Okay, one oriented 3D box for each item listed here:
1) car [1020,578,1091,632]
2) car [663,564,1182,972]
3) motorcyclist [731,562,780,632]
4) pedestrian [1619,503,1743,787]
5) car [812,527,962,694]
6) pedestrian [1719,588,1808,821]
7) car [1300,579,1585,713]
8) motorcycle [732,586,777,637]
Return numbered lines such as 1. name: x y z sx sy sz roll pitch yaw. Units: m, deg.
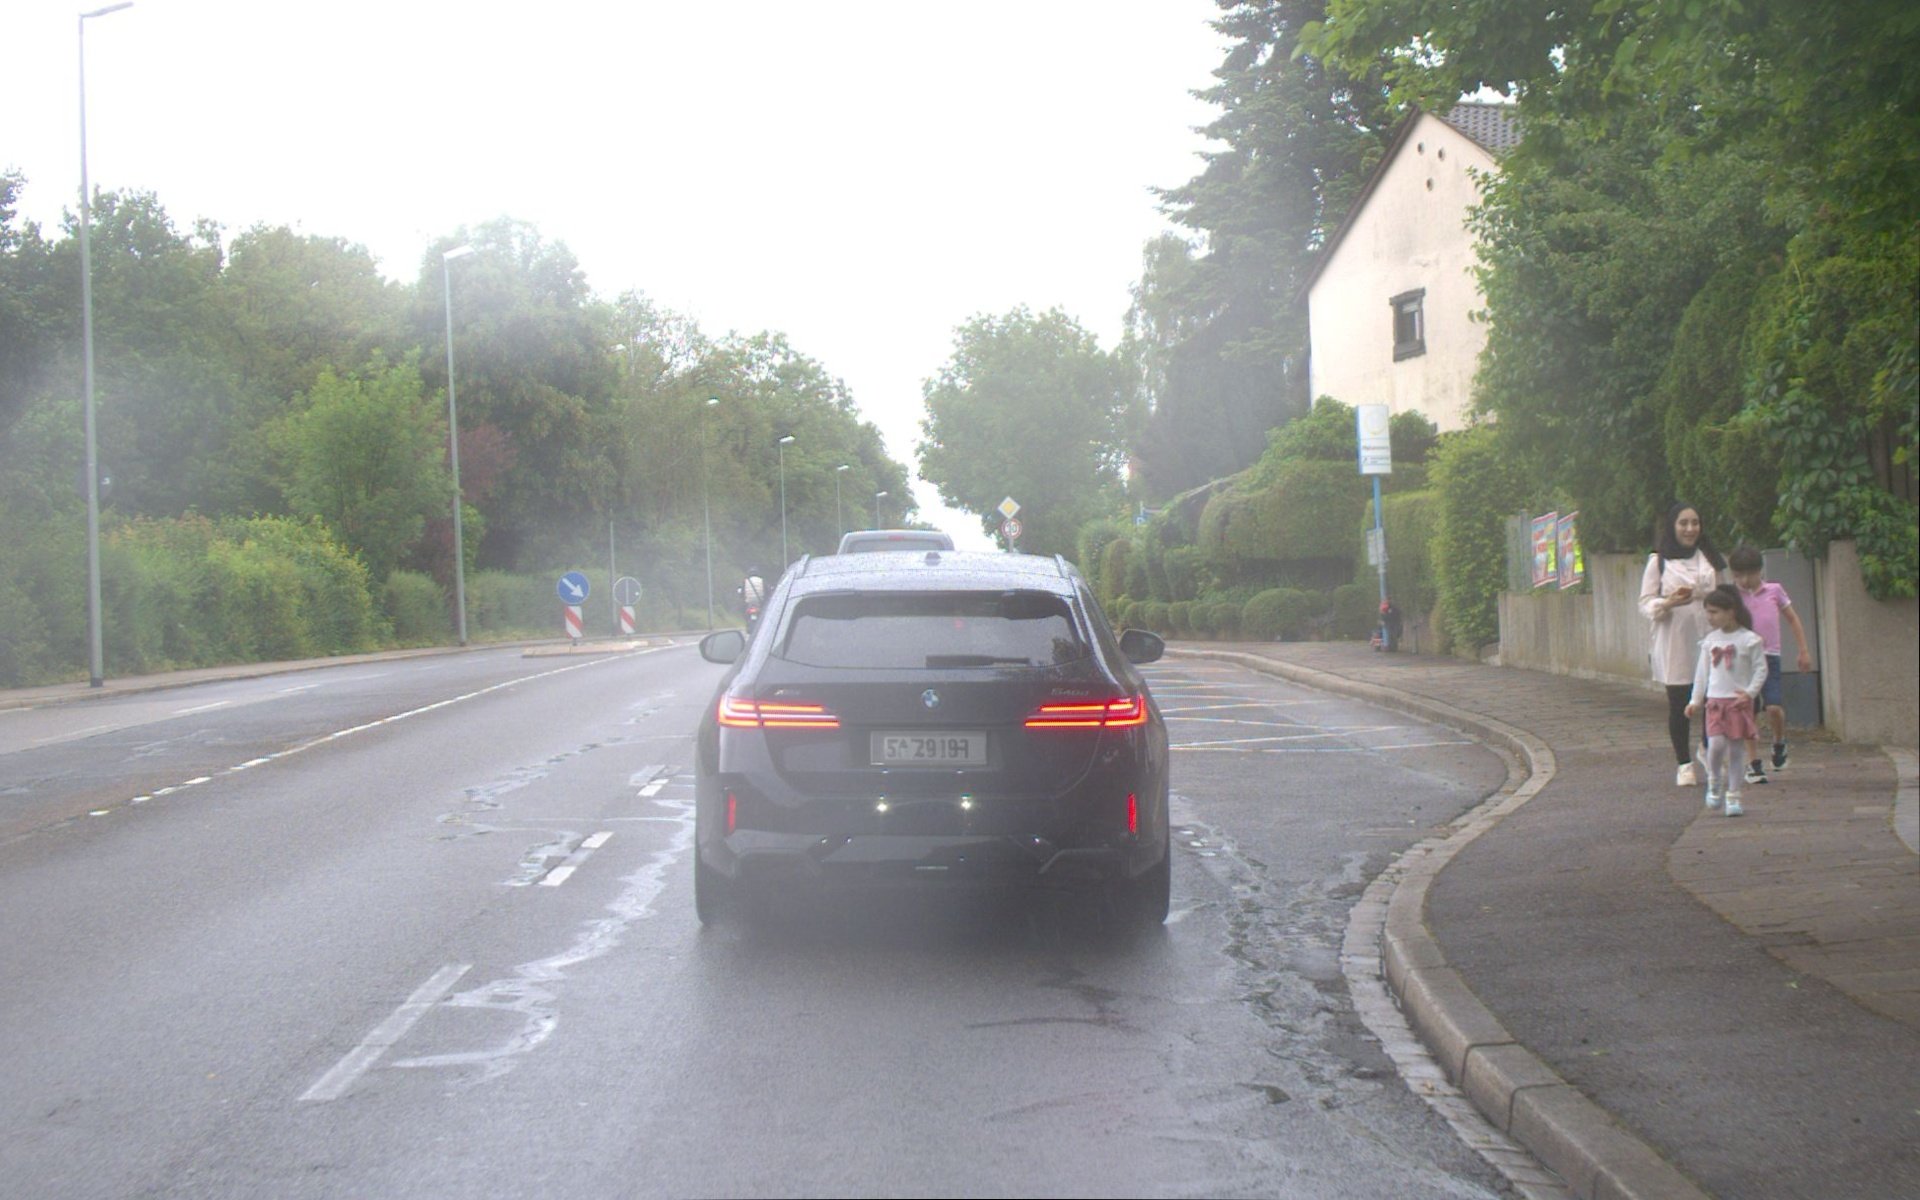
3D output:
1. car: 2.733 0.116 98.444 1.935 1.437 4.408 -2 0 2
2. car: -0.126 0.605 14.633 1.897 1.484 4.000 0 0 0
3. motorcyclist: -4.576 -0.068 76.886 1.039 1.562 0.855 0 0 -1
4. pedestrian: 4.139 0.251 19.777 0.610 1.588 0.646 -2 1 8
5. car: -0.852 0.093 41.107 1.629 1.827 4.000 -2 1 -1
6. pedestrian: 4.024 0.517 17.230 0.367 1.142 0.366 -2 1 8
7. car: 7.237 0.715 51.572 3.695 1.294 1.773 12 -6 -20
8. motorcycle: -4.579 0.248 76.883 0.876 1.120 2.741 0 0 -1
